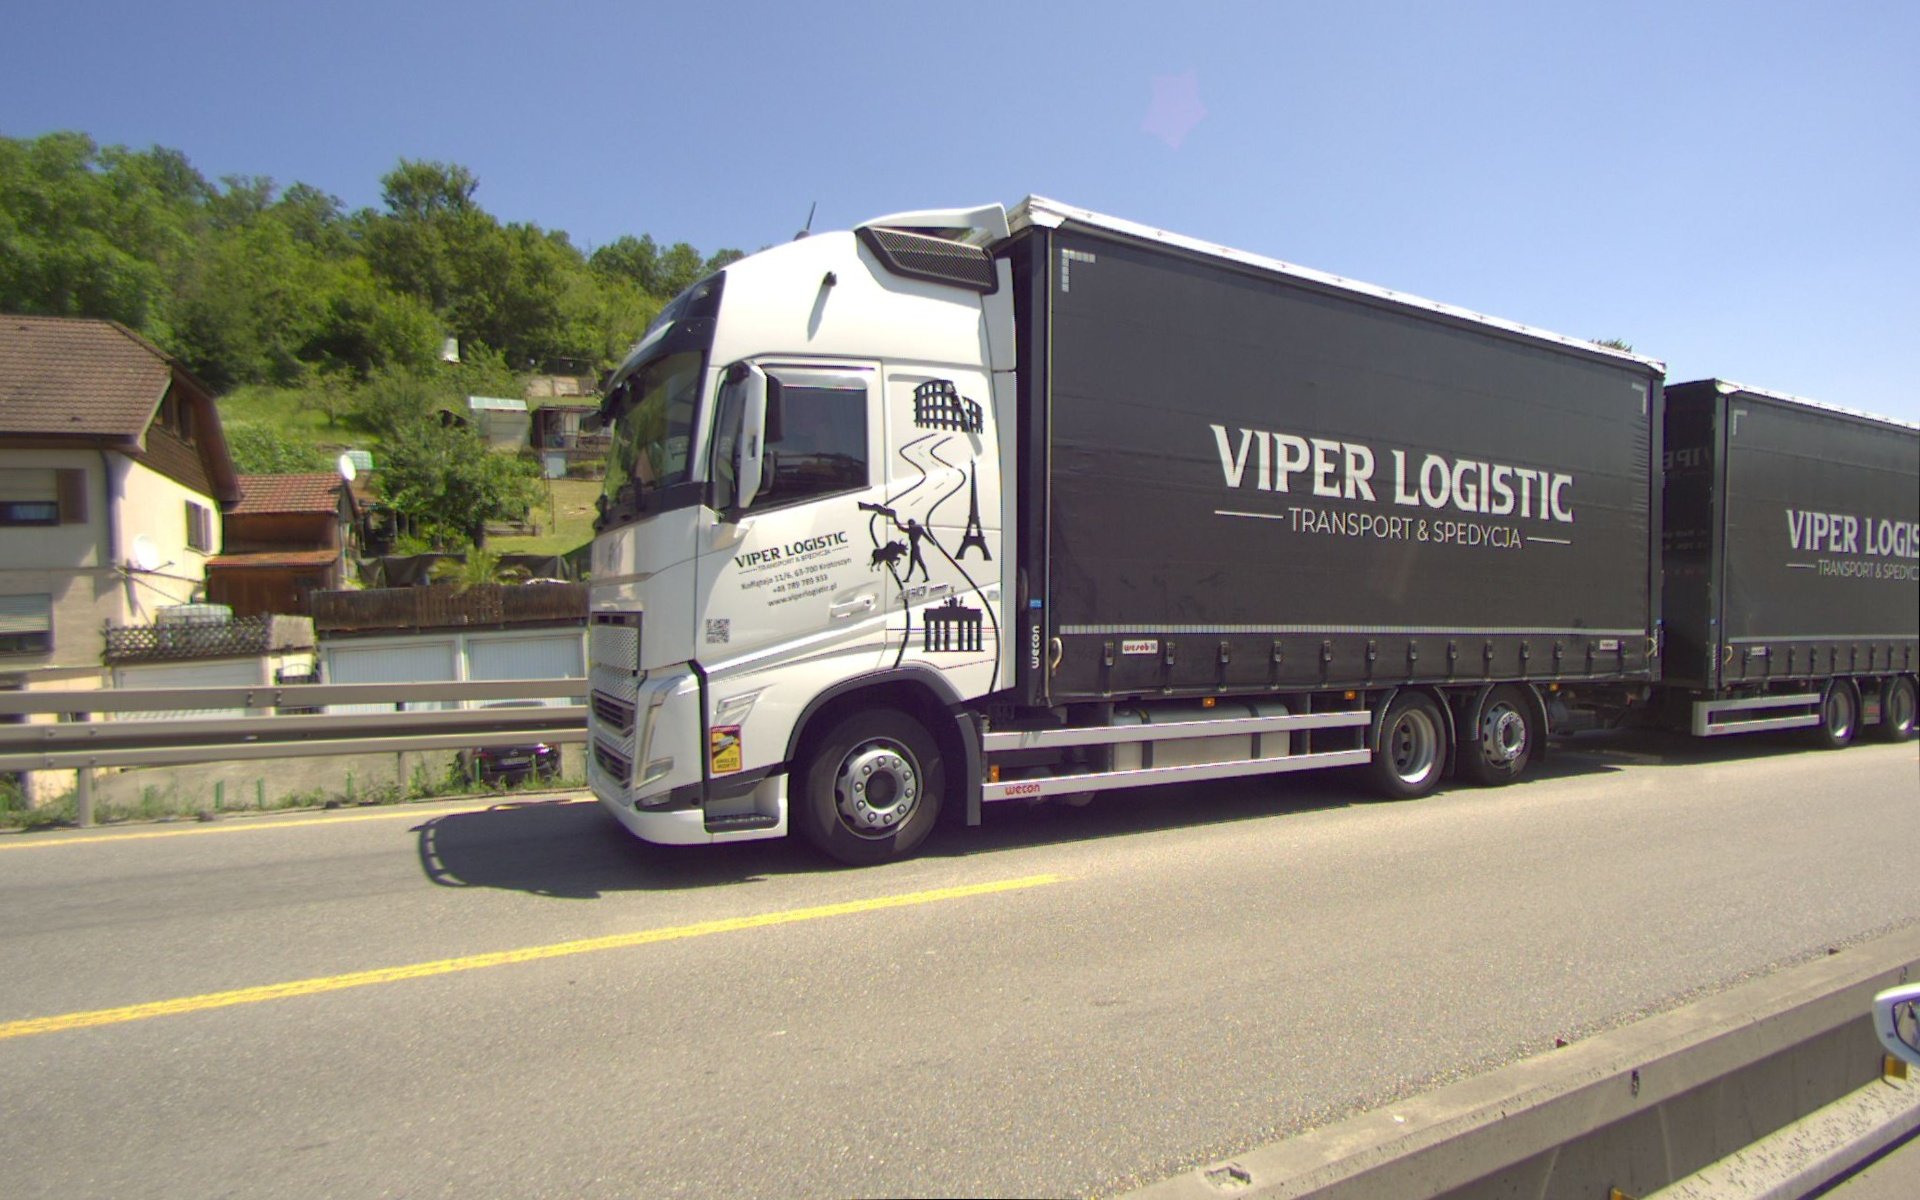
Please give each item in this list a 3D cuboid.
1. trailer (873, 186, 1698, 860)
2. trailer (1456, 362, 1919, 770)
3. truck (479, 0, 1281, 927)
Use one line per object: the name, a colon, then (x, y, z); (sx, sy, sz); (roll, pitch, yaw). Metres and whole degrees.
trailer: (3.363, -0.441, 9.360); (7.913, 4.125, 2.744); (1, 0, -30)
trailer: (10.632, -0.313, 13.425); (8.527, 4.125, 2.746); (1, 0, -29)
truck: (-0.566, -0.614, 7.059); (4.897, 4.341, 2.740); (1, 0, -29)
